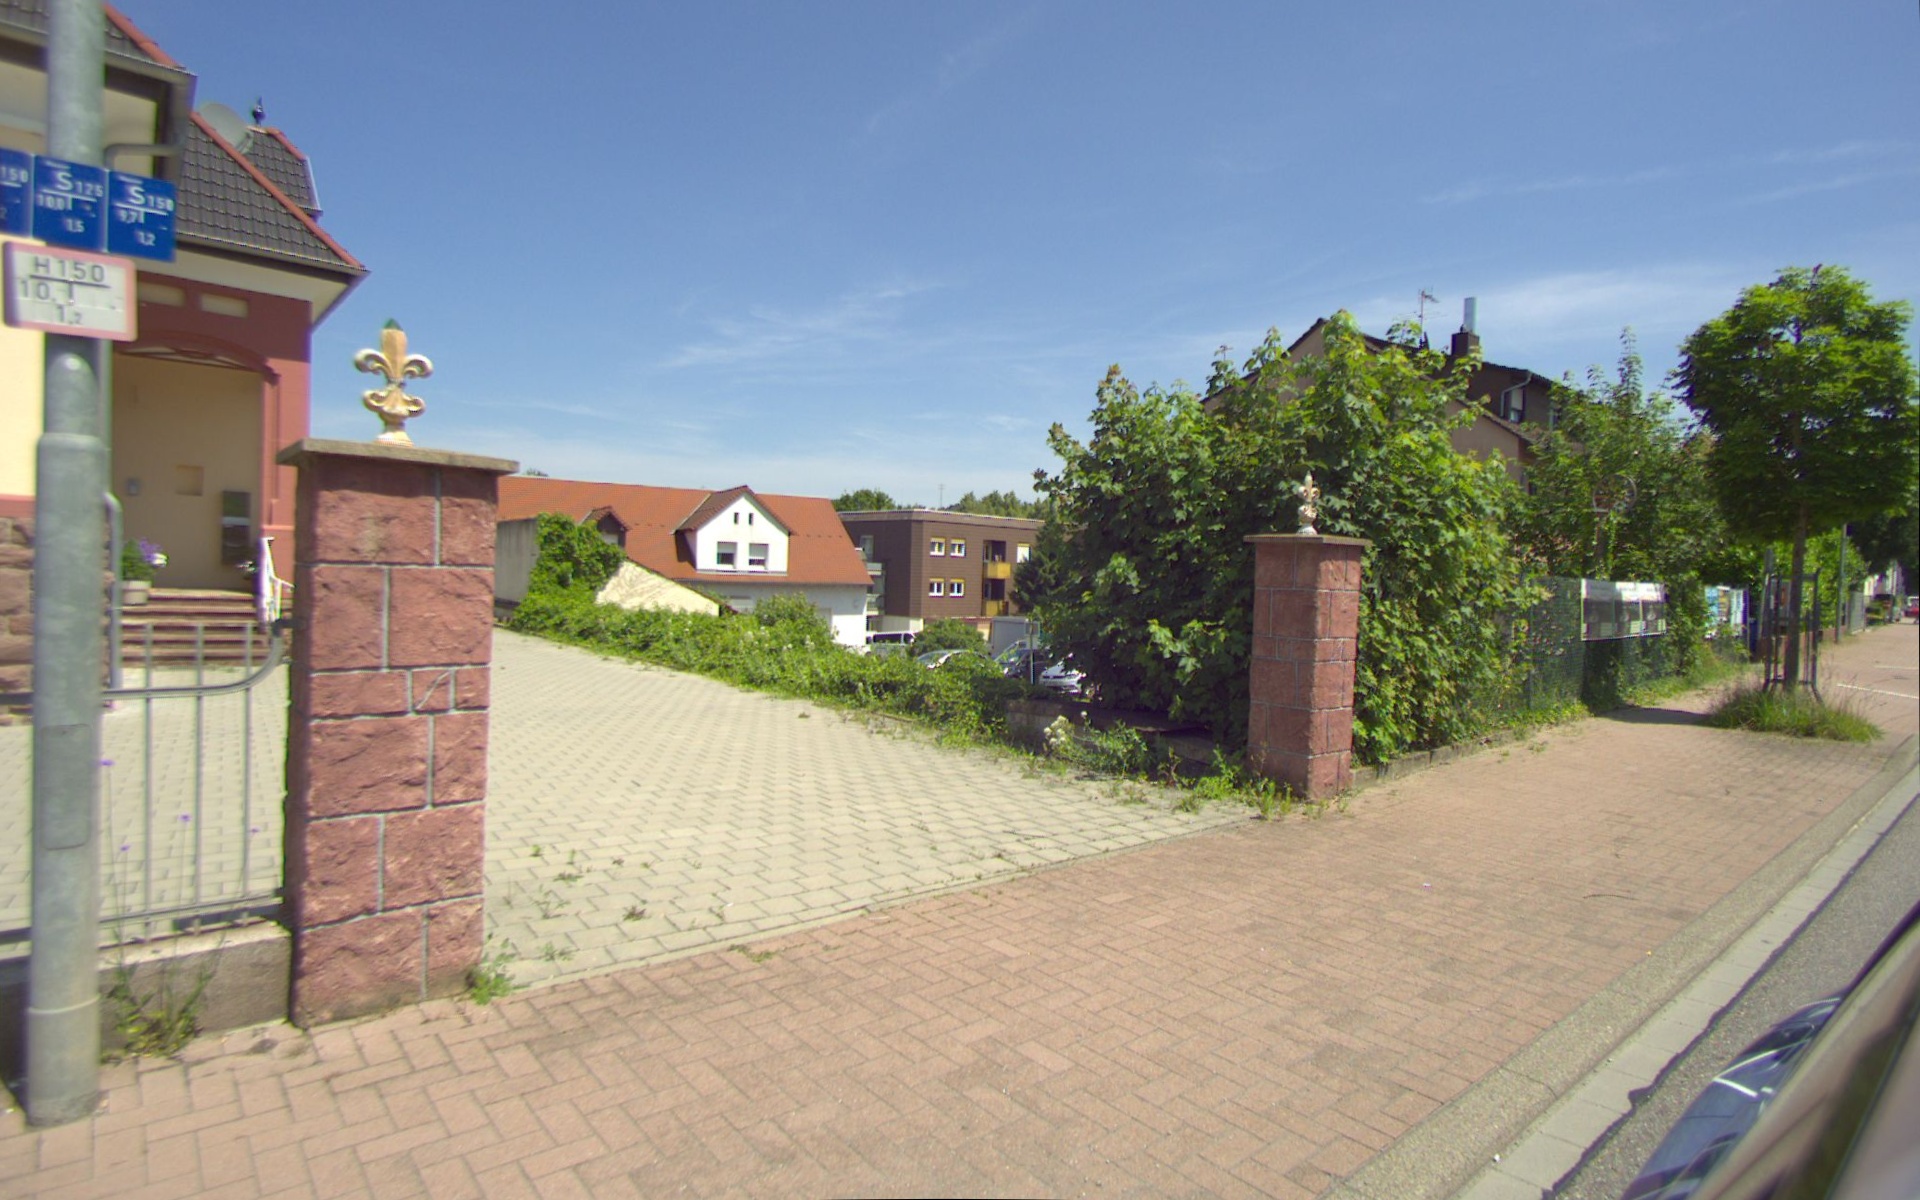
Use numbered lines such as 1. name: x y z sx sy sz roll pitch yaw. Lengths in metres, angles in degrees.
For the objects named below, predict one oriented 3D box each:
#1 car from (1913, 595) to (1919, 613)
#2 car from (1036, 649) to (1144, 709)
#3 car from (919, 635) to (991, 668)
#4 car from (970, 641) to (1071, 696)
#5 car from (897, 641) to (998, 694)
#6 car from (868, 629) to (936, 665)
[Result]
1. car: 89.444 0.371 93.669 1.633 1.600 3.513 4 3 44
2. car: 3.893 2.337 30.131 3.237 1.492 1.324 -2 -3 -42
3. car: -0.224 2.598 51.561 3.470 1.459 1.550 -1 0 -38
4. car: 2.002 2.214 32.953 3.237 1.492 1.324 -2 -3 -42
5. car: -0.393 2.282 34.395 3.325 1.492 1.324 -2 -3 -42
6. car: -3.211 2.583 55.383 1.685 1.852 3.993 0 -2 -39
